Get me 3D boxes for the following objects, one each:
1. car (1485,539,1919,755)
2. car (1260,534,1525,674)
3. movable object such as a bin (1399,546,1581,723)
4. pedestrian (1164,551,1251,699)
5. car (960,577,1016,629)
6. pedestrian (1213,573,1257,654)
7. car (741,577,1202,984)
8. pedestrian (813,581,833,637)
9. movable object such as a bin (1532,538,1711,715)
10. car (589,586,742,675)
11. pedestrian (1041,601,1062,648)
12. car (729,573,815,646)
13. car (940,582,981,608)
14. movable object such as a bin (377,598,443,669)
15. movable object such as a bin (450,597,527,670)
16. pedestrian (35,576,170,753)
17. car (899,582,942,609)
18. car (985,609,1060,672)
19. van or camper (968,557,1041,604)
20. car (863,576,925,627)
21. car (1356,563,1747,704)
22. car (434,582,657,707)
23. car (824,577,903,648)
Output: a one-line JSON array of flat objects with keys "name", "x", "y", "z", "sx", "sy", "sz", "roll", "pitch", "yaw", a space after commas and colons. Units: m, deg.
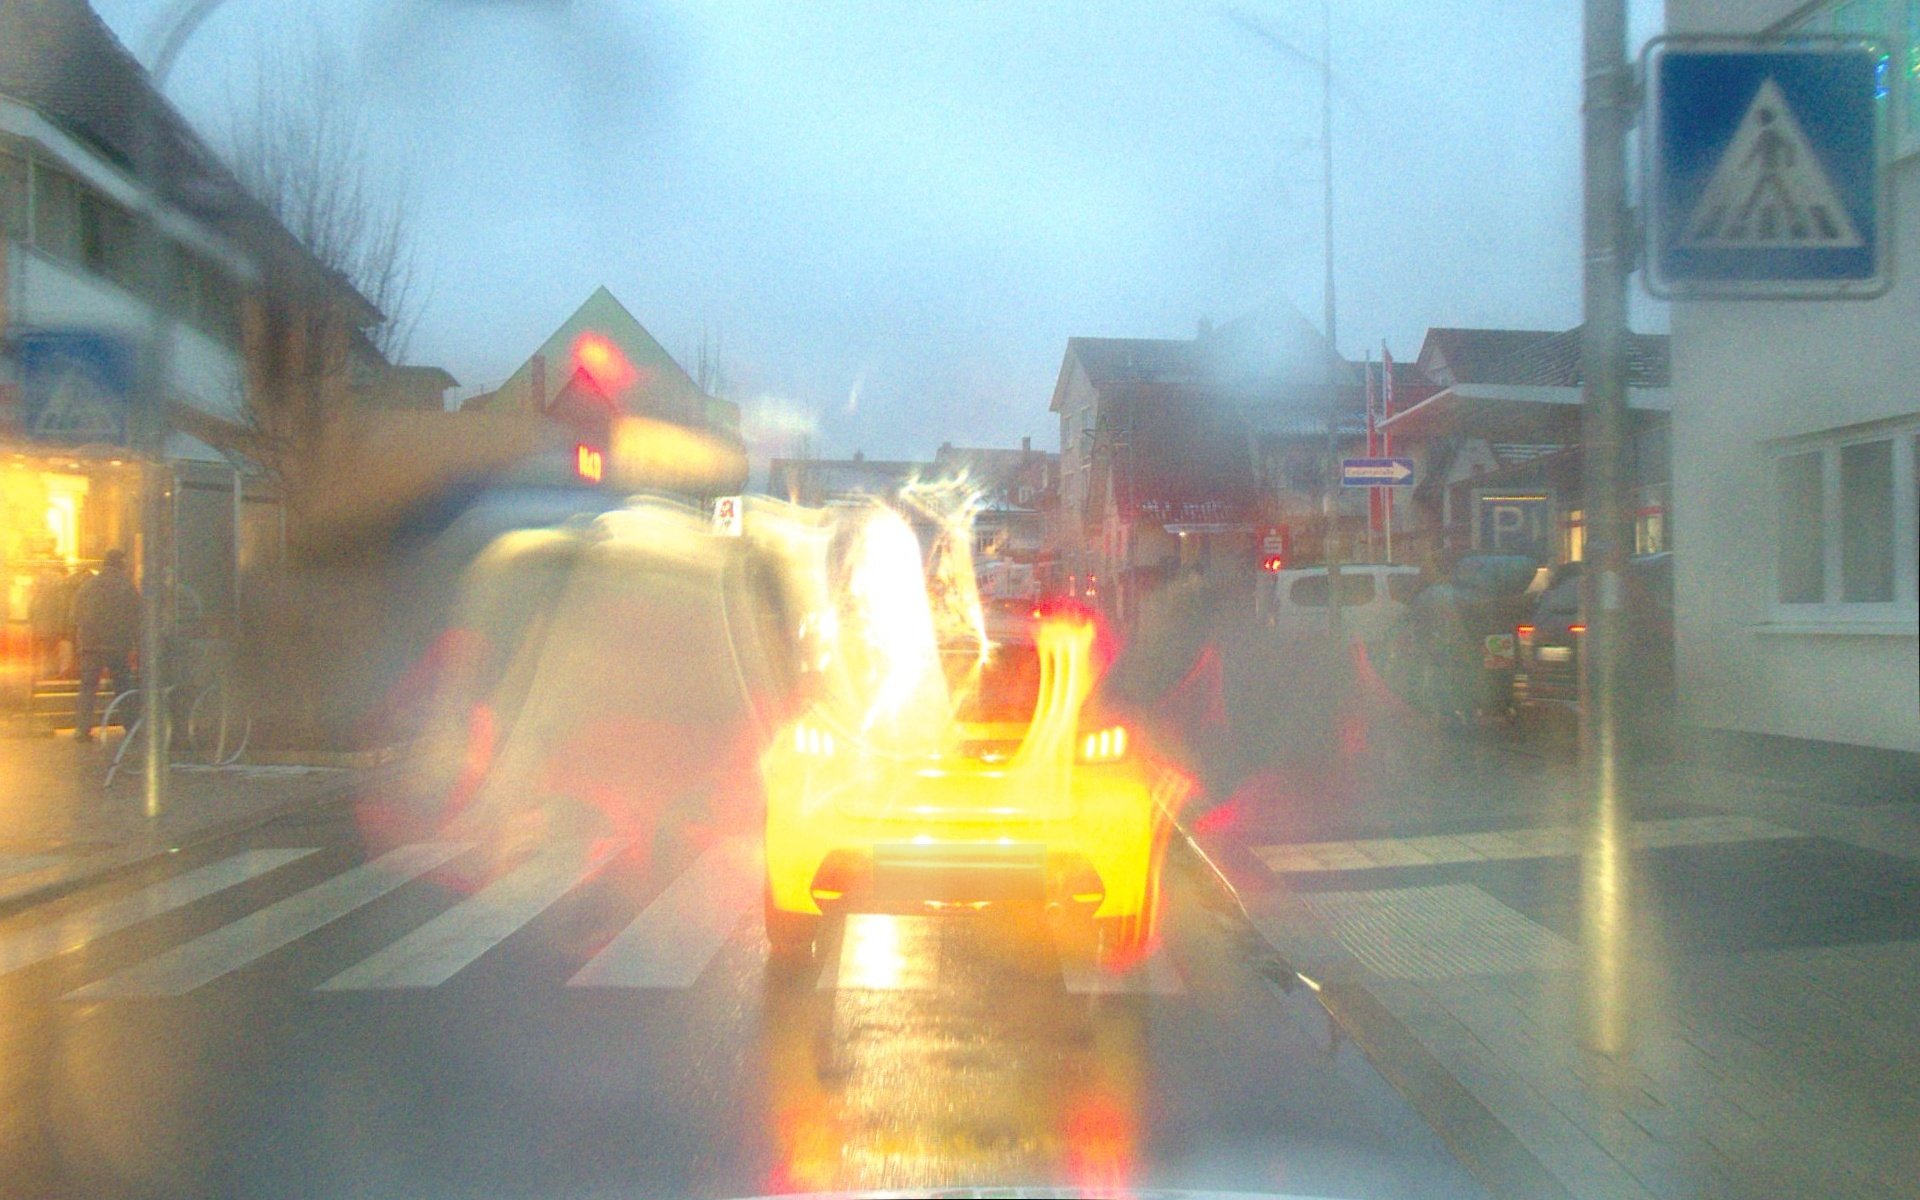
[{"name": "car", "x": 6.742, "y": 0.384, "z": 14.064, "sx": 3.906, "sy": 1.653, "sz": 1.999, "roll": 1, "pitch": 0, "yaw": -1}, {"name": "car", "x": 7.060, "y": 0.069, "z": 27.395, "sx": 4.003, "sy": 2.085, "sz": 2.002, "roll": -2, "pitch": 0, "yaw": 8}, {"name": "movable object such as a bin", "x": 5.355, "y": 0.331, "z": 16.824, "sx": 1.365, "sy": 1.672, "sz": 1.261, "roll": -2, "pitch": 0, "yaw": -2}, {"name": "pedestrian", "x": 3.298, "y": 0.328, "z": 22.134, "sx": 0.947, "sy": 1.922, "sz": 1.005, "roll": 1, "pitch": 0, "yaw": -2}, {"name": "car", "x": 1.025, "y": 0.098, "z": 63.039, "sx": 1.953, "sy": 1.890, "sz": 3.999, "roll": 1, "pitch": 0, "yaw": -1}, {"name": "pedestrian", "x": 6.004, "y": 0.292, "z": 36.182, "sx": 0.825, "sy": 1.735, "sz": 0.839, "roll": -2, "pitch": 0, "yaw": 4}, {"name": "car", "x": 0.060, "y": 0.705, "z": 8.475, "sx": 1.777, "sy": 1.560, "sz": 4.000, "roll": 1, "pitch": 0, "yaw": 0}, {"name": "pedestrian", "x": -3.970, "y": 0.246, "z": 47.968, "sx": 0.563, "sy": 1.613, "sz": 0.530, "roll": 0, "pitch": 1, "yaw": -3}, {"name": "movable object such as a bin", "x": 6.690, "y": 0.255, "z": 16.797, "sx": 1.259, "sy": 1.672, "sz": 1.185, "roll": -2, "pitch": 0, "yaw": -3}, {"name": "car", "x": -5.440, "y": 0.525, "z": 31.171, "sx": 1.952, "sy": 1.549, "sz": 4.978, "roll": 0, "pitch": 0, "yaw": 0}, {"name": "pedestrian", "x": 3.567, "y": 0.946, "z": 64.283, "sx": 0.730, "sy": 1.759, "sz": 0.872, "roll": 0, "pitch": 1, "yaw": -3}, {"name": "car", "x": -4.983, "y": 0.211, "z": 44.356, "sx": 2.045, "sy": 1.823, "sz": 5.020, "roll": 1, "pitch": 1, "yaw": -4}, {"name": "car", "x": 0.022, "y": -0.352, "z": 116.389, "sx": 1.960, "sy": 1.639, "sz": 4.159, "roll": -2, "pitch": 0, "yaw": -14}, {"name": "movable object such as a bin", "x": -10.930, "y": 0.656, "z": 32.889, "sx": 1.129, "sy": 1.378, "sz": 0.849, "roll": 0, "pitch": 0, "yaw": -10}, {"name": "movable object such as a bin", "x": -9.430, "y": 0.659, "z": 33.093, "sx": 1.316, "sy": 1.377, "sz": 0.887, "roll": -3, "pitch": 0, "yaw": -9}, {"name": "pedestrian", "x": -8.492, "y": 0.617, "z": 16.426, "sx": 0.810, "sy": 1.687, "sz": 1.096, "roll": 1, "pitch": 0, "yaw": -7}, {"name": "car", "x": -2.781, "y": -0.320, "z": 116.023, "sx": 1.961, "sy": 1.795, "sz": 4.331, "roll": -2, "pitch": 1, "yaw": -16}, {"name": "car", "x": 1.693, "y": 1.101, "z": 46.126, "sx": 1.952, "sy": 1.616, "sz": 4.000, "roll": 1, "pitch": 0, "yaw": 0}, {"name": "van or camper", "x": 3.070, "y": -1.334, "z": 117.173, "sx": 2.615, "sy": 3.100, "sz": 6.689, "roll": -4, "pitch": 1, "yaw": -22}, {"name": "car", "x": -2.398, "y": 0.012, "z": 59.228, "sx": 1.914, "sy": 1.573, "sz": 4.411, "roll": 2, "pitch": 2, "yaw": -6}, {"name": "car", "x": 6.792, "y": 0.387, "z": 19.334, "sx": 3.903, "sy": 1.512, "sz": 1.913, "roll": -1, "pitch": -1, "yaw": 3}, {"name": "car", "x": -5.810, "y": 0.570, "z": 23.794, "sx": 1.952, "sy": 1.585, "sz": 4.621, "roll": 1, "pitch": 0, "yaw": 1}, {"name": "car", "x": -2.633, "y": 0.296, "z": 46.140, "sx": 1.953, "sy": 1.735, "sz": 4.966, "roll": 2, "pitch": 1, "yaw": -2}]
